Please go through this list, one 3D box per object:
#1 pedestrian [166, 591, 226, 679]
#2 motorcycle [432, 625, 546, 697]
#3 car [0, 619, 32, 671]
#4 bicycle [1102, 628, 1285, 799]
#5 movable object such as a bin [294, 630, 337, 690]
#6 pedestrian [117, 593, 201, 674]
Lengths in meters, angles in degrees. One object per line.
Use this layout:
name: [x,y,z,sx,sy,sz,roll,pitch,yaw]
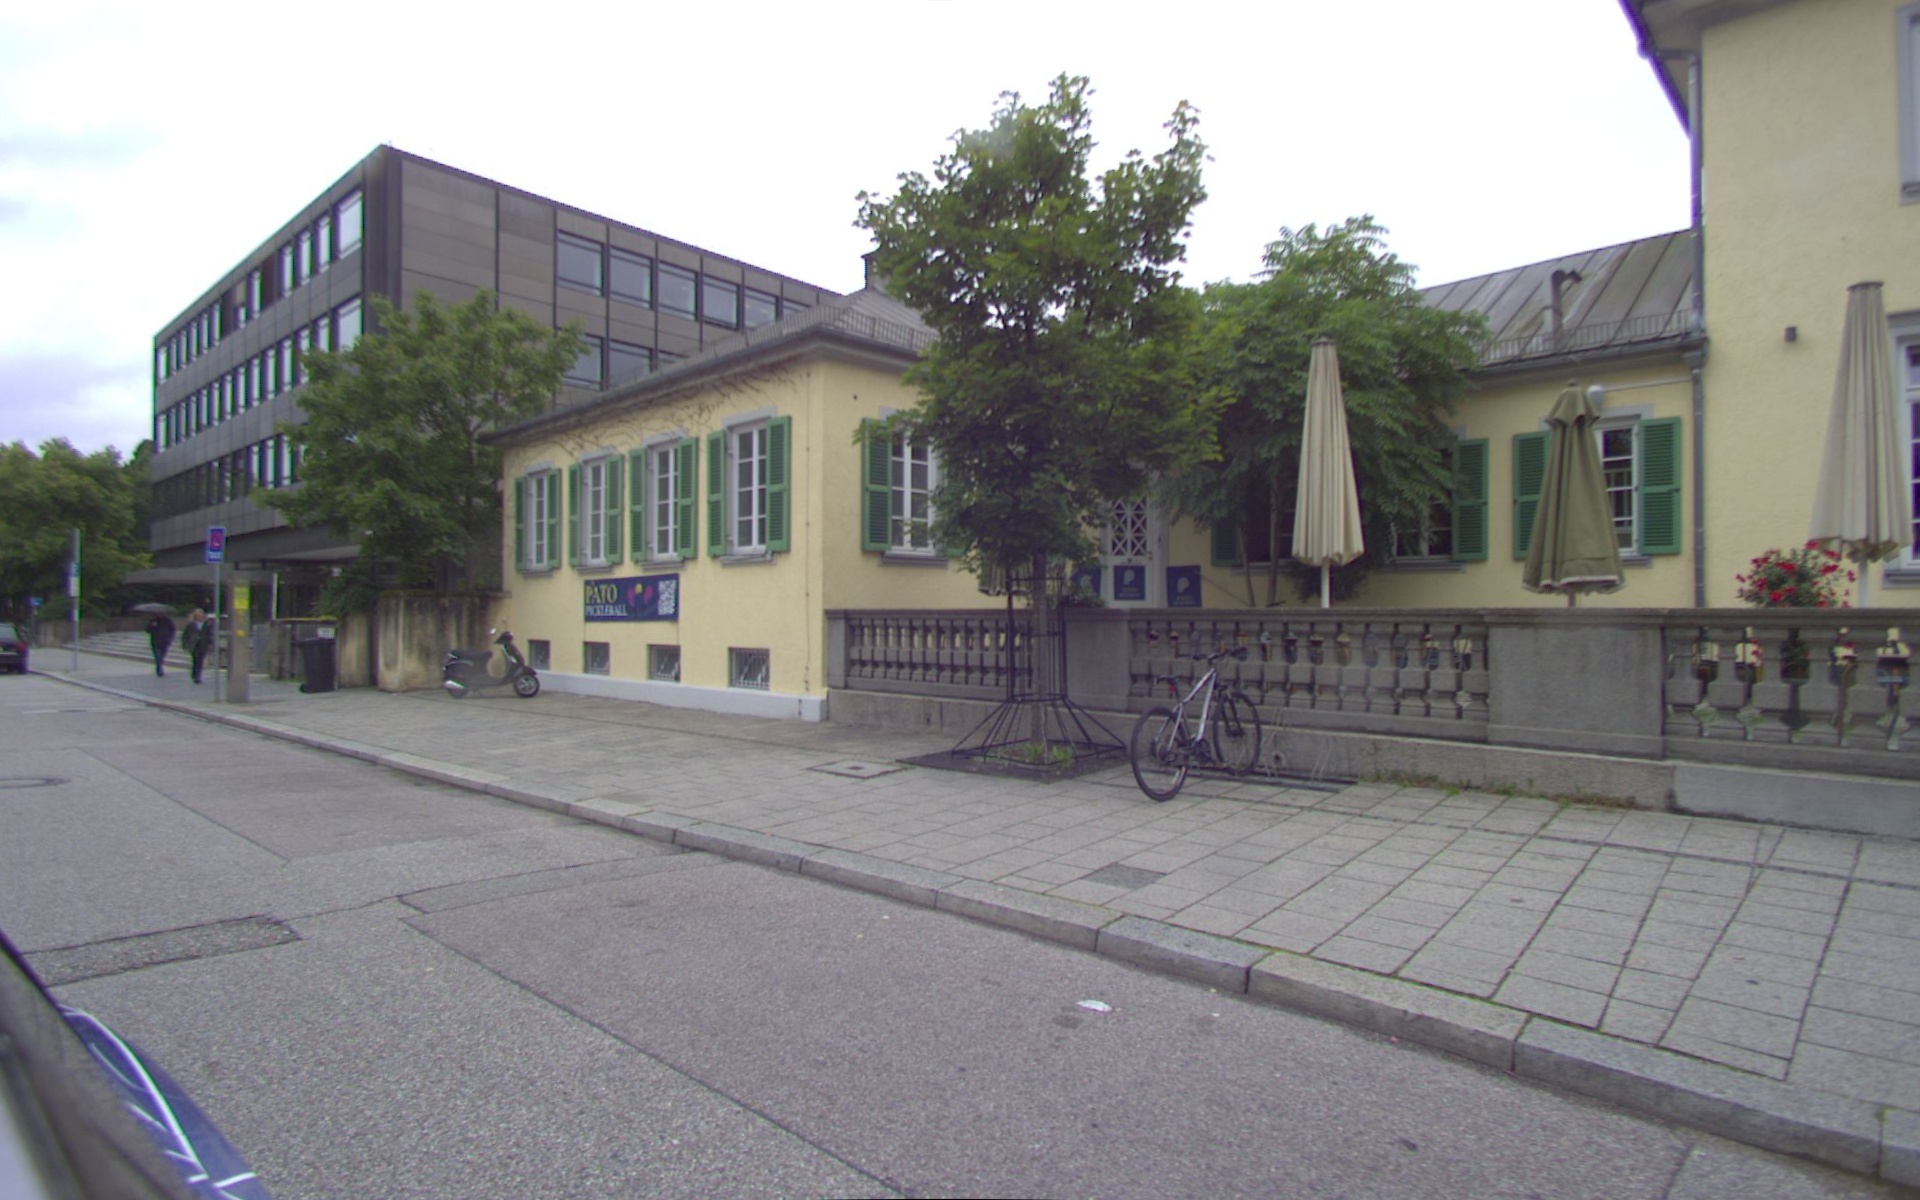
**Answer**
pedestrian: [-18.170,0.817,24.074,0.914,2.029,0.964,-1,0,41]
motorcycle: [-8.099,1.041,17.429,1.643,1.120,0.591,-2,2,-5]
car: [-27.991,1.244,28.741,4.485,1.409,1.904,-1,-2,41]
bicycle: [1.863,0.816,7.886,0.466,1.042,1.822,-2,3,44]
movable object such as a bin: [-12.617,1.160,19.809,0.460,1.117,0.607,-1,0,41]
pedestrian: [-20.961,0.852,26.492,1.500,2.029,1.460,-1,0,41]
